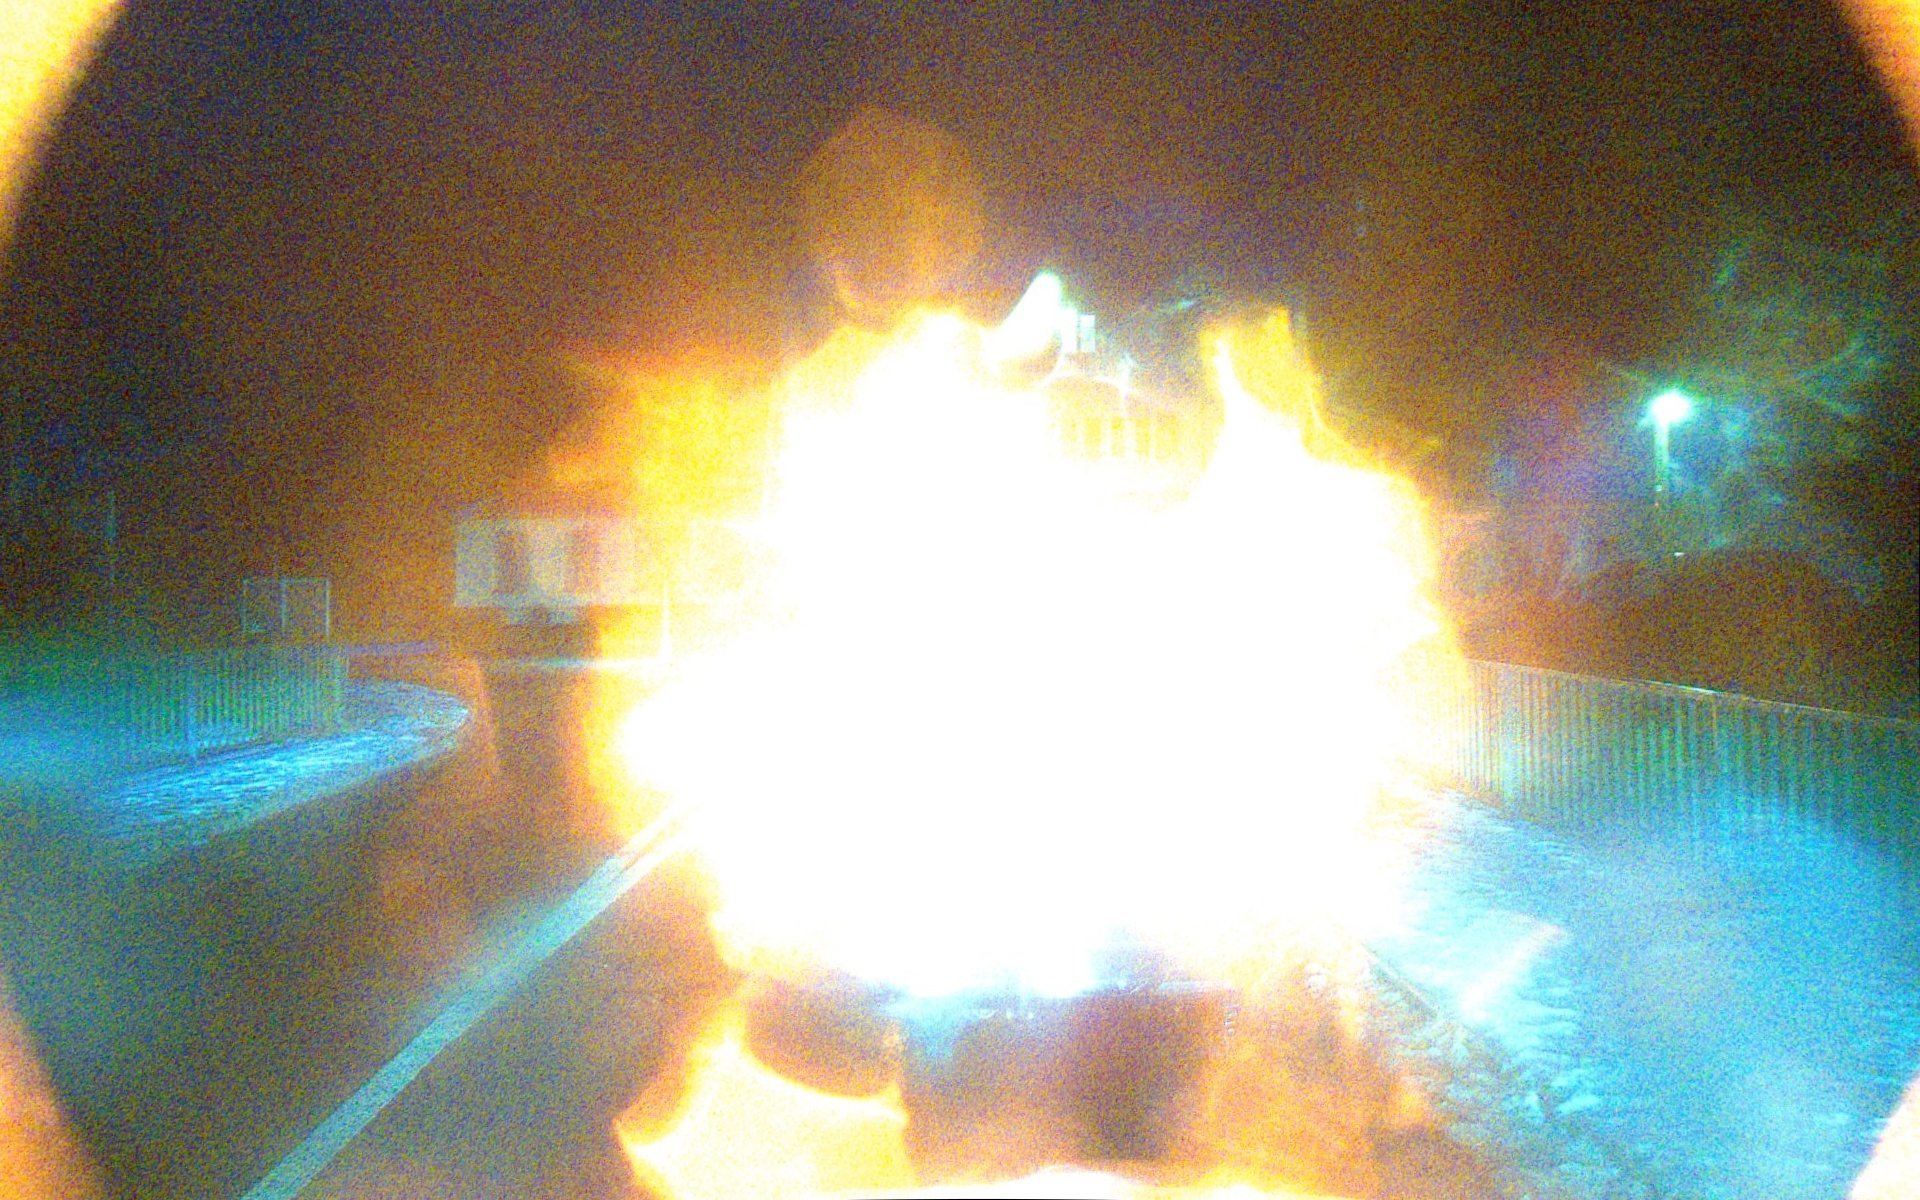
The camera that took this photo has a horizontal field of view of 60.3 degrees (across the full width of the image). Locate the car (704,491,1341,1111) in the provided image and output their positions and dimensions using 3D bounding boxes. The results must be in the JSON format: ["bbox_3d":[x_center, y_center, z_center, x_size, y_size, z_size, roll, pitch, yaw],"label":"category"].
[{"bbox_3d":[0.185,0.531,6.519,1.754,1.710,3.905,0,1,0],"label":"car"}]

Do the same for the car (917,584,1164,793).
[{"bbox_3d":[0.646,0.606,13.520,1.707,1.440,4.001,-1,0,2],"label":"car"}]
